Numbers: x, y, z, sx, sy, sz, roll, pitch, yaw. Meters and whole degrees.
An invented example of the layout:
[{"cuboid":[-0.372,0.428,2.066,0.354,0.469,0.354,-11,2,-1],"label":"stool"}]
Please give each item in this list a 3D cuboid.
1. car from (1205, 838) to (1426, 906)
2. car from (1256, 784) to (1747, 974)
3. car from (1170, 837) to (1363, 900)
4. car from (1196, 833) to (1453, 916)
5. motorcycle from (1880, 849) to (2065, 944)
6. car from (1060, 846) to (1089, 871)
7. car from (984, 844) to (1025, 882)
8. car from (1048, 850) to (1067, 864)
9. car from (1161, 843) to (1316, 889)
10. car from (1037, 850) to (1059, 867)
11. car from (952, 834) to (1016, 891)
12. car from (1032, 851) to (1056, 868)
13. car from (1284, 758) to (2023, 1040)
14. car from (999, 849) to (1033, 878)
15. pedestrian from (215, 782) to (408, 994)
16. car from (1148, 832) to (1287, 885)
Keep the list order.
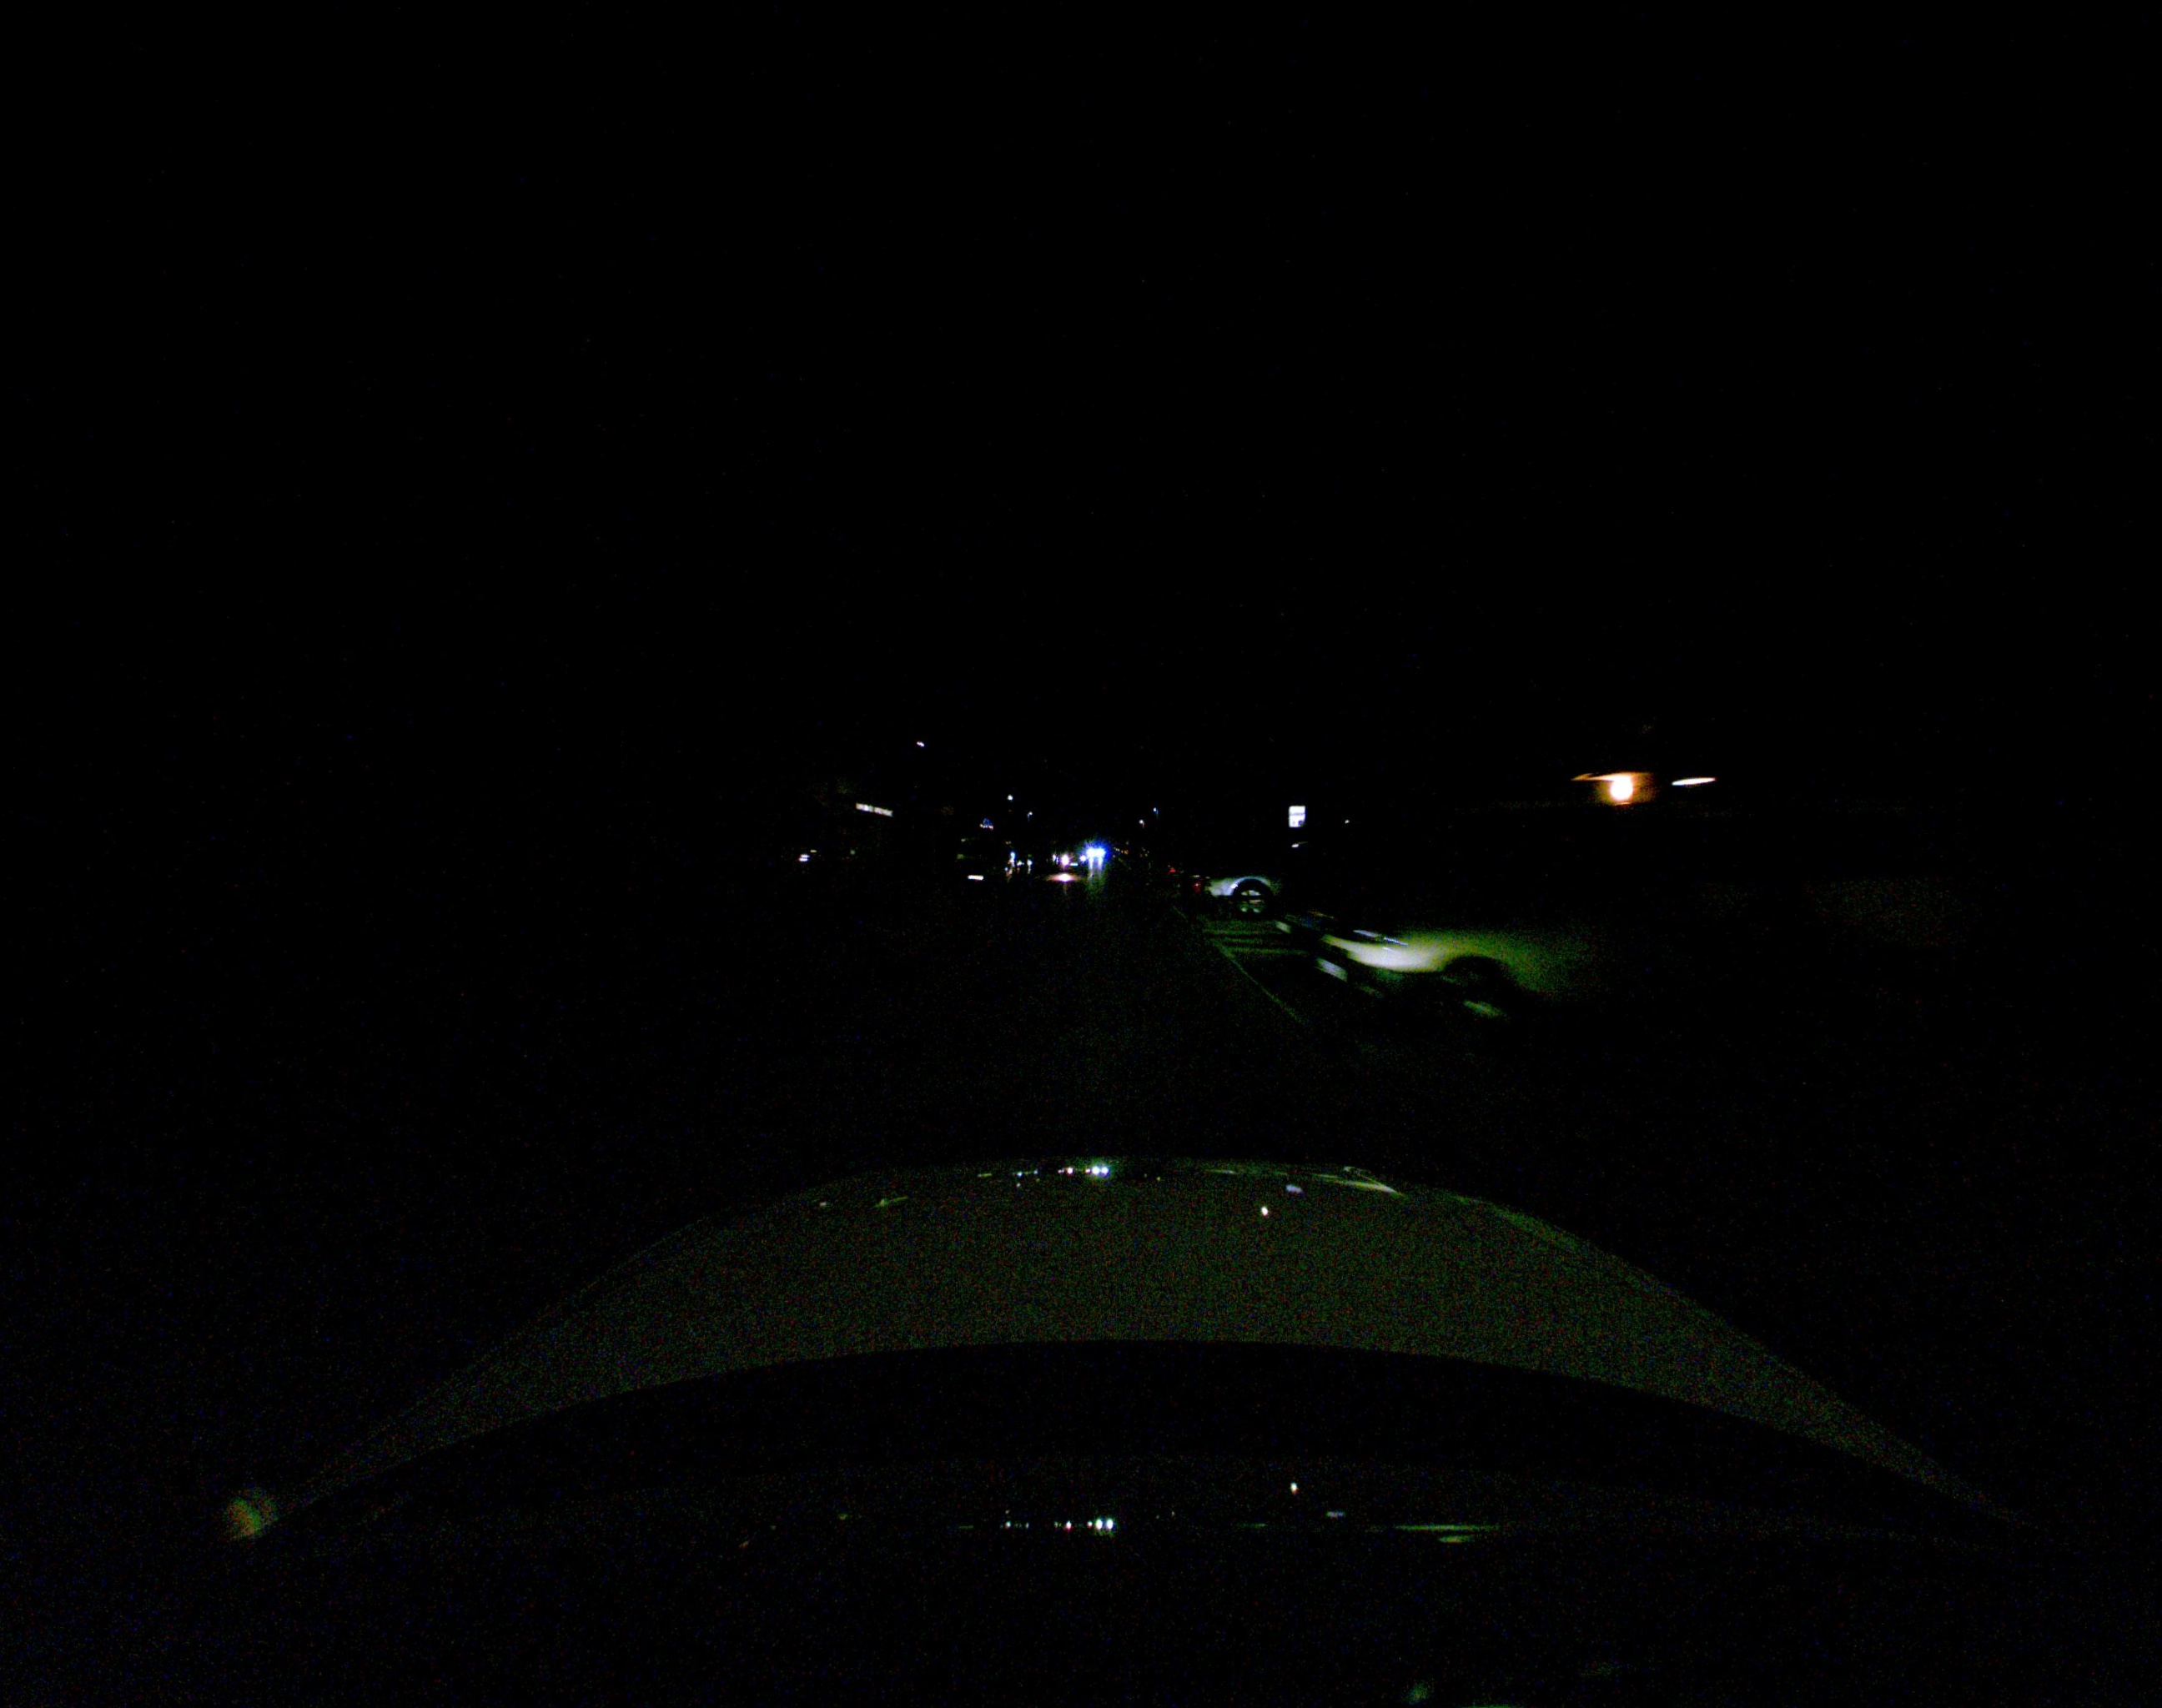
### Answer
[{"cuboid":[6.001,0.432,21.295,5.165,1.525,2.102,-2,0,0],"label":"car"},{"cuboid":[5.047,0.278,10.389,5.165,2.013,2.102,-2,0,0],"label":"car"},{"cuboid":[5.325,0.405,23.864,5.165,1.594,2.102,-2,0,0],"label":"car"},{"cuboid":[5.324,0.429,18.368,5.165,1.594,2.102,-2,0,0],"label":"car"},{"cuboid":[14.234,0.606,13.151,1.060,1.326,2.723,0,1,25],"label":"motorcycle"},{"cuboid":[-0.420,0.272,55.854,1.920,1.648,3.821,-1,0,0],"label":"car"},{"cuboid":[-3.539,0.403,38.170,1.529,1.688,3.212,1,0,0],"label":"car"},{"cuboid":[-2.263,0.298,79.768,1.677,1.331,3.599,0,0,0],"label":"car"},{"cuboid":[5.585,0.407,29.377,5.165,1.469,2.102,-2,0,0],"label":"car"},{"cuboid":[-2.787,0.362,69.900,1.677,1.331,3.599,0,0,0],"label":"car"},{"cuboid":[-3.633,0.300,31.266,1.818,1.986,4.466,1,0,0],"label":"car"},{"cuboid":[-2.864,0.415,63.995,1.677,1.331,3.599,0,0,0],"label":"car"},{"cuboid":[4.679,0.336,7.330,5.165,2.013,2.102,-2,0,0],"label":"car"},{"cuboid":[-3.416,0.491,43.205,1.529,1.451,3.119,0,0,0],"label":"car"},{"cuboid":[-7.849,0.319,8.380,0.782,2.013,1.205,1,0,2],"label":"pedestrian"},{"cuboid":[5.376,0.182,32.101,5.149,1.887,2.108,-2,0,11],"label":"car"}]
